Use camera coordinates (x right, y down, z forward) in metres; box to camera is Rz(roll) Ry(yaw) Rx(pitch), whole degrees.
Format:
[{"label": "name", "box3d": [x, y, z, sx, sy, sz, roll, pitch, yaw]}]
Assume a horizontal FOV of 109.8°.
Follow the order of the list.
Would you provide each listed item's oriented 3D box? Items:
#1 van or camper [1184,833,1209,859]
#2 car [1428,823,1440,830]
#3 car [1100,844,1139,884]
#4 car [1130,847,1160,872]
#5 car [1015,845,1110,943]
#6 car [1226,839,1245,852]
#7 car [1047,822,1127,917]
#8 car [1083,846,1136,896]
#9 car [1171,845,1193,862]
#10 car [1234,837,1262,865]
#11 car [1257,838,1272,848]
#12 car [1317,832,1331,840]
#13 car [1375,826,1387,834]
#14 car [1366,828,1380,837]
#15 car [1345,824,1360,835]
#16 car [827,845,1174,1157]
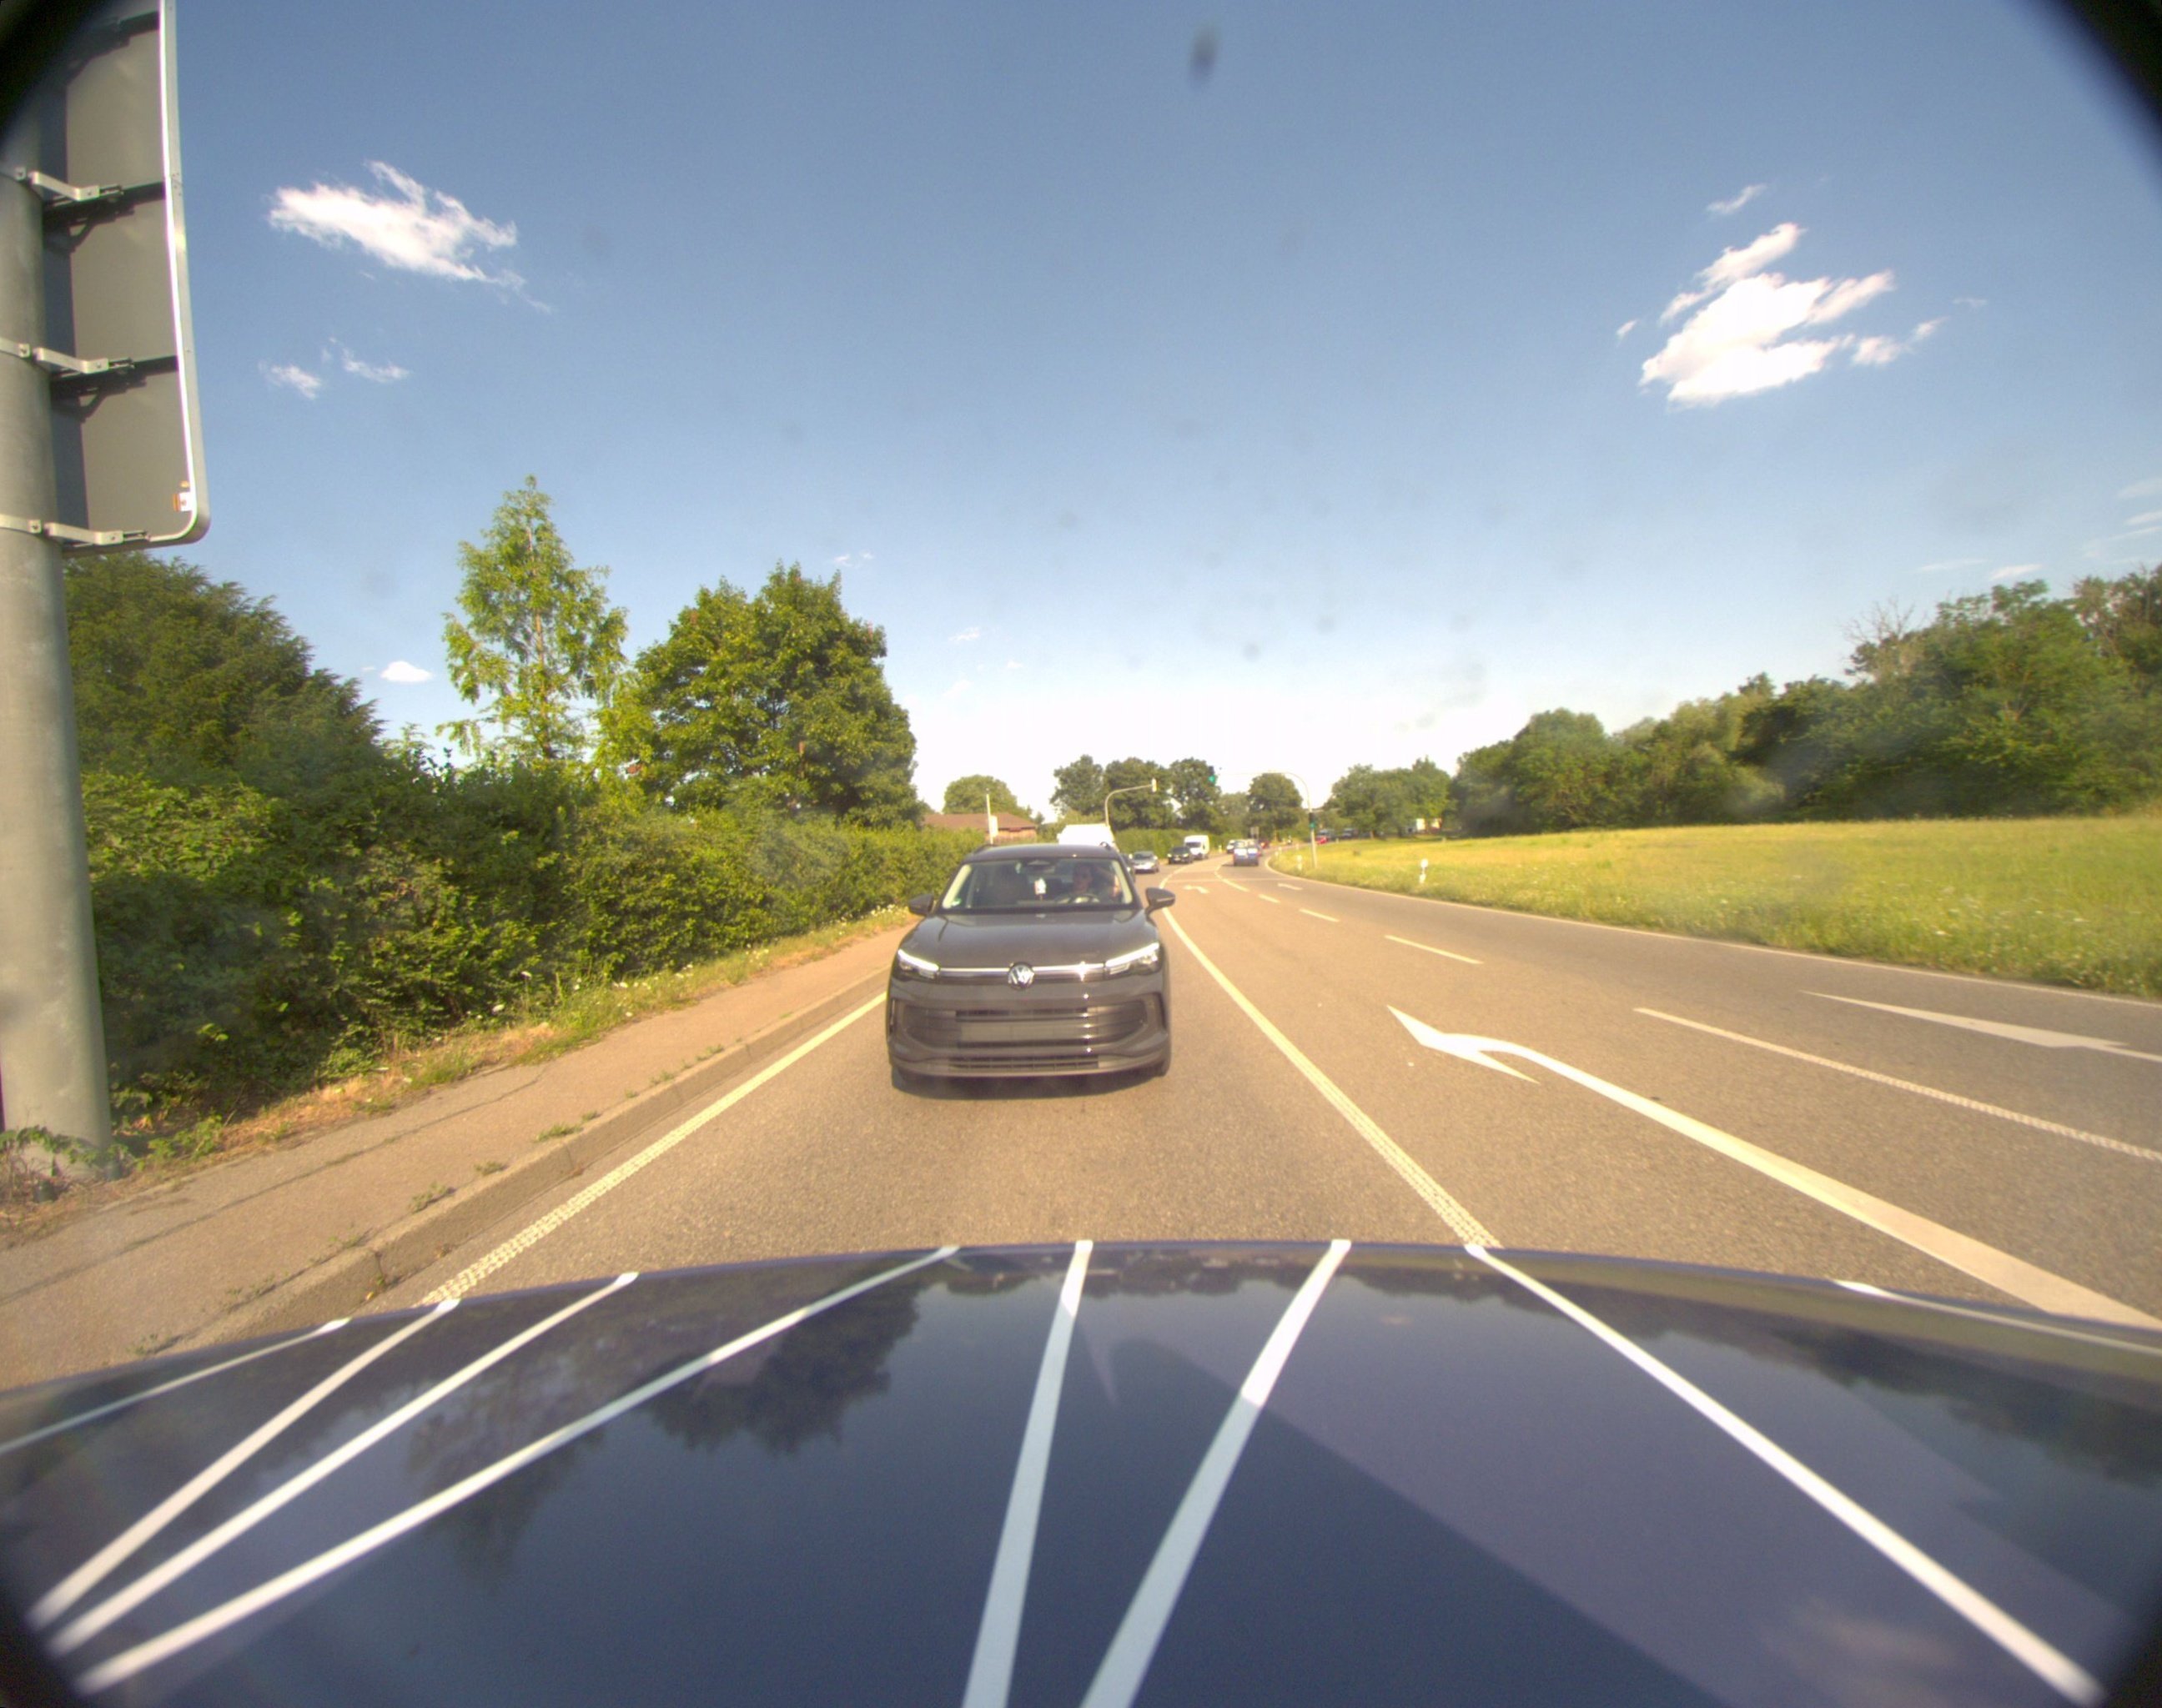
[{"label": "van or camper", "box3d": [12.241, -0.875, 80.277, 2.032, 2.461, 5.082, -4, 0, 14]}, {"label": "car", "box3d": [93.297, -7.189, 200.891, 3.625, 1.685, 1.635, -3, 2, -44]}, {"label": "car", "box3d": [1.866, 0.430, 36.089, 1.673, 1.718, 3.668, 0, 2, 6]}, {"label": "car", "box3d": [4.253, 0.317, 49.907, 1.633, 1.549, 3.419, -1, 1, 10]}, {"label": "car", "box3d": [-0.260, 0.694, 15.446, 1.659, 1.720, 3.804, -1, 1, 2]}, {"label": "car", "box3d": [21.146, -1.185, 104.090, 1.671, 1.471, 3.499, -4, 0, 25]}, {"label": "car", "box3d": [0.286, 0.363, 21.322, 1.844, 2.338, 4.790, -1, 1, 5]}, {"label": "car", "box3d": [1.121, 0.589, 28.367, 1.693, 1.718, 3.669, -1, 1, 6]}, {"label": "car", "box3d": [9.206, -0.101, 69.024, 1.605, 1.471, 3.619, 0, 1, 13]}, {"label": "car", "box3d": [13.478, -0.253, 61.073, 2.001, 2.124, 4.783, -2, 0, 14]}, {"label": "car", "box3d": [30.621, -1.904, 126.707, 1.671, 1.471, 3.499, -4, 0, 27]}, {"label": "car", "box3d": [46.116, -3.358, 143.930, 1.586, 1.458, 3.614, -1, 0, 34]}, {"label": "car", "box3d": [75.385, -6.059, 191.081, 1.654, 1.595, 3.876, -4, 1, 39]}, {"label": "car", "box3d": [67.355, -4.902, 175.085, 1.725, 1.871, 4.344, -1, 1, 40]}, {"label": "car", "box3d": [63.052, -5.772, 176.361, 1.995, 2.373, 4.944, -4, 1, 34]}, {"label": "car", "box3d": [-0.374, 0.792, 6.155, 1.865, 1.633, 4.000, -1, 2, 2]}]
